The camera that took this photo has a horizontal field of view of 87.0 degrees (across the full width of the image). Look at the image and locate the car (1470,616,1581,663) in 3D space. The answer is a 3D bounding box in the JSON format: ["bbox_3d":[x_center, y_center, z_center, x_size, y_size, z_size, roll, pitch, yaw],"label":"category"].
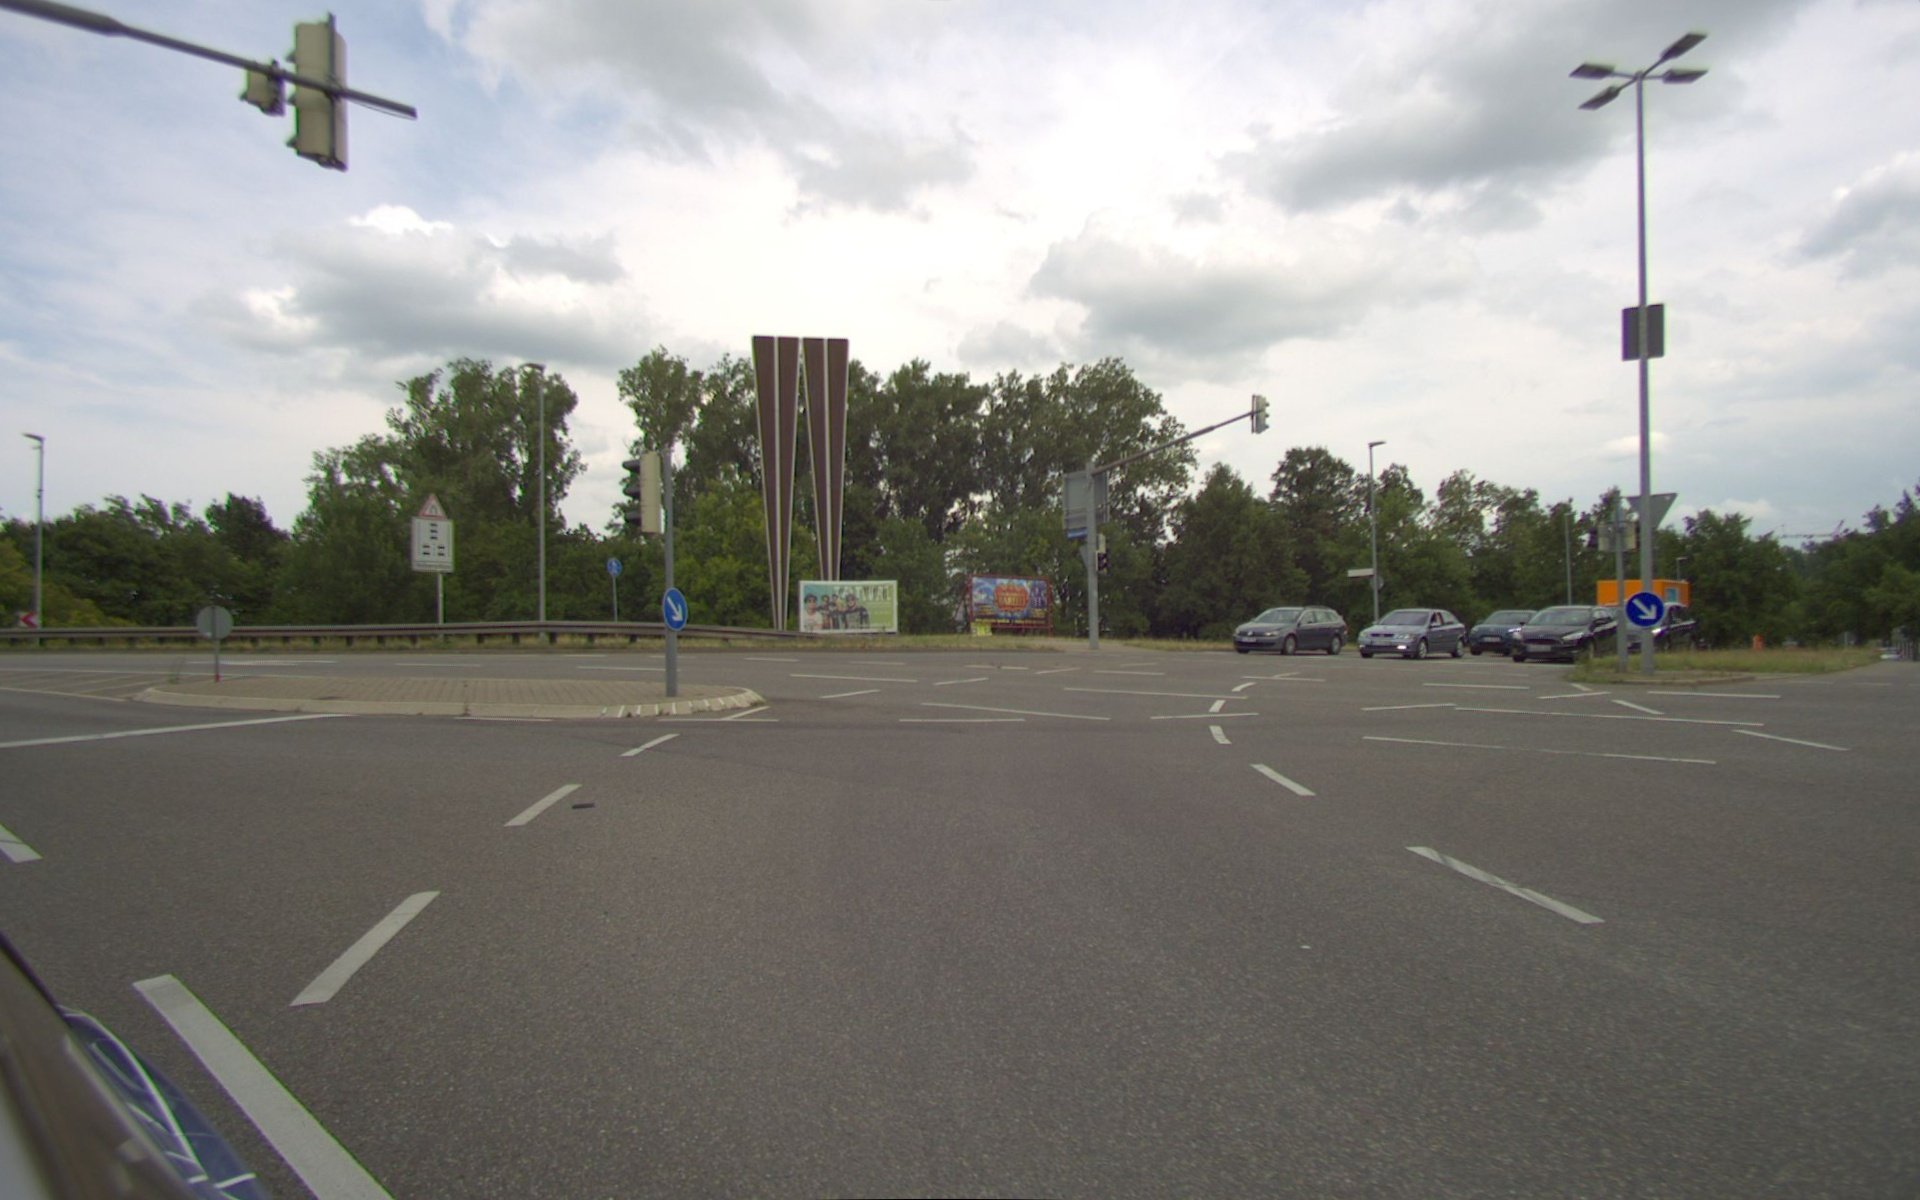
[{"bbox_3d":[18.174,1.232,32.455,4.274,1.320,2.001,0,-1,-45],"label":"car"}]

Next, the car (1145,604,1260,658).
[{"bbox_3d":[8.741,1.082,36.341,4.192,1.796,1.930,0,-1,-42],"label":"car"}]

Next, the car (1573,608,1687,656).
[{"bbox_3d":[20.373,0.937,30.701,4.507,1.320,2.001,0,-1,-45],"label":"car"}]

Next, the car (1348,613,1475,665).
[{"bbox_3d":[12.681,1.052,28.346,3.750,1.320,2.001,0,-1,-45],"label":"car"}]

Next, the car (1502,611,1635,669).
[{"bbox_3d":[15.684,0.994,26.008,4.012,1.320,2.001,0,-1,-45],"label":"car"}]

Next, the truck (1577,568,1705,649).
[{"bbox_3d":[29.530,0.355,43.665,2.972,3.159,9.142,-2,-1,44],"label":"truck"}]

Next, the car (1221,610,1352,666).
[{"bbox_3d":[9.925,1.108,30.628,4.313,1.500,2.001,0,-1,-45],"label":"car"}]
